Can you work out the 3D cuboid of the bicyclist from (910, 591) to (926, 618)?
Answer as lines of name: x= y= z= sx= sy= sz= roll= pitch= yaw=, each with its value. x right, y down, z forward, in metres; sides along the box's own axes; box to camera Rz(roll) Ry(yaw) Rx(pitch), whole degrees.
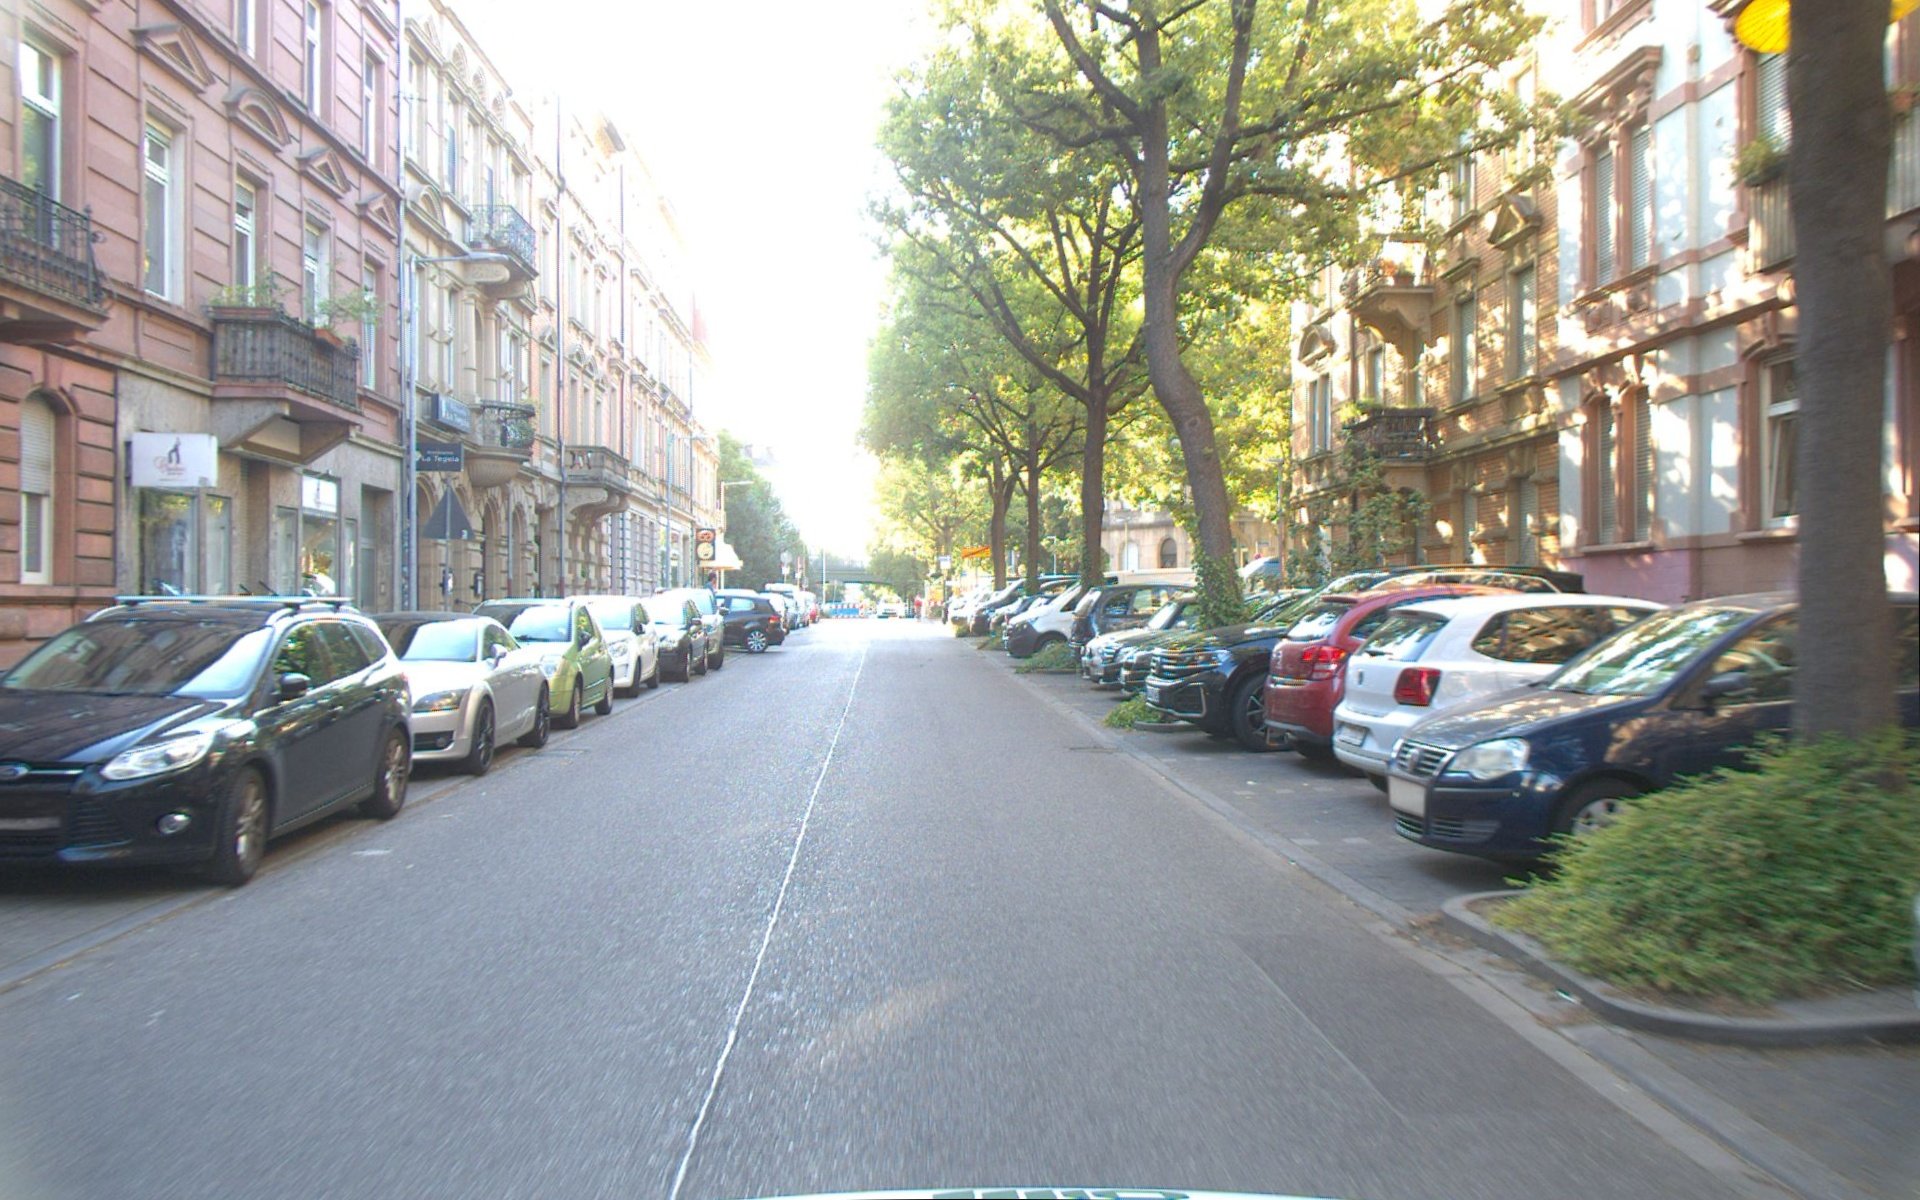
bicyclist: x=-2.201 y=0.233 z=85.793 sx=0.787 sy=1.407 sz=0.984 roll=1 pitch=0 yaw=-4

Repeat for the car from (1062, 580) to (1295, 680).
car: x=3.844 y=0.505 z=29.420 sx=3.811 sy=1.678 sz=1.722 roll=0 pitch=0 yaw=-8

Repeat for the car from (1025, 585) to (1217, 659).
car: x=3.560 y=0.469 z=36.833 sx=3.915 sy=1.500 sz=1.777 roll=-2 pitch=0 yaw=-10

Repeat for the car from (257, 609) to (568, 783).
car: x=-4.914 y=0.787 z=15.429 sx=1.671 sy=1.346 sz=4.099 roll=0 pitch=0 yaw=-2

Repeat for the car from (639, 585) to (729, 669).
car: x=-5.805 y=0.524 z=35.126 sx=1.616 sy=1.601 sz=4.043 roll=3 pitch=0 yaw=-7

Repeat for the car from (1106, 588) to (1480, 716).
car: x=4.237 y=0.641 z=21.576 sx=4.460 sy=1.556 sz=2.000 roll=0 pitch=0 yaw=-1

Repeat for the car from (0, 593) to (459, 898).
car: x=-4.688 y=0.730 z=10.560 sx=1.784 sy=1.503 sz=4.421 roll=1 pitch=0 yaw=-3

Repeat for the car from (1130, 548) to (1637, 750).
car: x=4.169 y=0.448 z=16.682 sx=4.556 sy=1.732 sz=1.879 roll=-2 pitch=0 yaw=-6

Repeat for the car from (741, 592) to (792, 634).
car: x=-7.064 y=0.458 z=60.647 sx=1.670 sy=1.479 sz=4.017 roll=0 pitch=0 yaw=-4

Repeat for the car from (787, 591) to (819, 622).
car: x=-8.166 y=0.338 z=86.336 sx=1.637 sy=1.557 sz=3.996 roll=0 pitch=0 yaw=-5

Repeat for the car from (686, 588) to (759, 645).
car: x=-6.959 y=0.454 z=48.729 sx=1.706 sy=1.594 sz=3.893 roll=0 pitch=0 yaw=-2

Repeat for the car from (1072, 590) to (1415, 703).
car: x=4.093 y=0.633 z=24.190 sx=4.577 sy=1.529 sz=1.926 roll=0 pitch=0 yaw=-12

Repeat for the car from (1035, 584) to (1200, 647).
car: x=3.986 y=0.377 z=42.300 sx=3.999 sy=1.524 sz=1.842 roll=-1 pitch=0 yaw=-2

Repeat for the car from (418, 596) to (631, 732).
car: x=-5.161 y=0.697 z=20.099 sx=1.671 sy=1.464 sz=3.957 roll=0 pitch=0 yaw=-2

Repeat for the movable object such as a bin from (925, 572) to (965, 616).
movable object such as a bin: x=-0.916 y=-0.377 z=104.349 sx=1.951 sy=2.747 sz=3.113 roll=0 pitch=-1 yaw=10

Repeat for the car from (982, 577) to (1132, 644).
car: x=2.857 y=0.310 z=49.222 sx=4.186 sy=1.918 sz=1.937 roll=0 pitch=0 yaw=-6

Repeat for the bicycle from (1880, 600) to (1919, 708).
bicycle: x=9.734 y=0.544 z=16.376 sx=0.317 sy=1.069 sz=1.704 roll=0 pitch=0 yaw=1

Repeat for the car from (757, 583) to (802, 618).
car: x=-7.691 y=0.011 z=70.796 sx=1.730 sy=1.462 sz=4.297 roll=0 pitch=0 yaw=-4

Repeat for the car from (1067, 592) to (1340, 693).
car: x=3.862 y=0.644 z=26.578 sx=4.027 sy=1.529 sz=1.808 roll=0 pitch=0 yaw=-7

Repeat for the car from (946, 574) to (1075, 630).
car: x=1.918 y=0.079 z=64.273 sx=4.874 sy=2.132 sz=2.104 roll=0 pitch=0 yaw=-3

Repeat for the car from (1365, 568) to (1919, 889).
car: x=4.420 y=0.600 z=9.077 sx=3.908 sy=1.412 sz=1.677 roll=-3 pitch=0 yaw=-3

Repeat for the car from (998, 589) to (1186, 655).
car: x=3.104 y=0.511 z=39.512 sx=4.282 sy=1.481 sz=1.933 roll=-1 pitch=0 yaw=-2

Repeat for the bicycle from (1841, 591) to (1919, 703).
bicycle: x=9.368 y=0.445 z=16.425 sx=0.357 sy=1.069 sz=1.704 roll=0 pitch=0 yaw=1

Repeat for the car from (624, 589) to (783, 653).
car: x=-6.556 y=0.510 z=42.465 sx=3.913 sy=1.556 sz=1.822 roll=-1 pitch=0 yaw=-9

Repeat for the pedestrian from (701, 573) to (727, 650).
pedestrian: x=-6.158 y=0.281 z=41.411 sx=0.626 sy=1.921 sz=0.591 roll=0 pitch=0 yaw=-8

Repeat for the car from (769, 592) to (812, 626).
car: x=-7.771 y=0.413 z=76.015 sx=1.691 sy=1.462 sz=3.994 roll=2 pitch=0 yaw=-2

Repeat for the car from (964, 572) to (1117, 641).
car: x=2.470 y=0.190 z=51.408 sx=4.525 sy=2.049 sz=1.998 roll=0 pitch=0 yaw=-5

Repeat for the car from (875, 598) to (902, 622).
car: x=-4.720 y=0.613 z=108.476 sx=1.714 sy=1.535 sz=3.998 roll=0 pitch=0 yaw=-3

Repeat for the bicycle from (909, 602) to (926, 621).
bicycle: x=-2.203 y=0.582 z=85.771 sx=0.787 sy=0.985 sz=2.107 roll=1 pitch=0 yaw=-3

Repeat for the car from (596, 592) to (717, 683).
car: x=-5.494 y=0.635 z=30.329 sx=1.615 sy=1.498 sz=3.998 roll=3 pitch=0 yaw=-3

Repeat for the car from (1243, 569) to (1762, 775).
car: x=4.619 y=0.571 z=14.399 sx=3.910 sy=1.618 sz=1.780 roll=-1 pitch=0 yaw=-6

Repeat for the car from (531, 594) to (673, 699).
car: x=-5.541 y=0.671 z=26.008 sx=1.550 sy=1.498 sz=3.998 roll=0 pitch=0 yaw=-3

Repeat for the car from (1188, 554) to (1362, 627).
car: x=11.388 y=-0.328 z=59.992 sx=5.785 sy=2.582 sz=2.375 roll=0 pitch=0 yaw=-9

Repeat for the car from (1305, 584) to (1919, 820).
car: x=4.638 y=0.654 z=11.802 sx=3.910 sy=1.488 sz=1.780 roll=-1 pitch=0 yaw=-6

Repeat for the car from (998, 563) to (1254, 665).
car: x=3.334 y=0.316 z=34.015 sx=4.990 sy=1.974 sz=2.157 roll=0 pitch=-3 yaw=-3

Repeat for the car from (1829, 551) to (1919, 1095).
car: x=4.858 y=0.643 z=4.493 sx=4.140 sy=1.563 sz=1.799 roll=0 pitch=0 yaw=-6
